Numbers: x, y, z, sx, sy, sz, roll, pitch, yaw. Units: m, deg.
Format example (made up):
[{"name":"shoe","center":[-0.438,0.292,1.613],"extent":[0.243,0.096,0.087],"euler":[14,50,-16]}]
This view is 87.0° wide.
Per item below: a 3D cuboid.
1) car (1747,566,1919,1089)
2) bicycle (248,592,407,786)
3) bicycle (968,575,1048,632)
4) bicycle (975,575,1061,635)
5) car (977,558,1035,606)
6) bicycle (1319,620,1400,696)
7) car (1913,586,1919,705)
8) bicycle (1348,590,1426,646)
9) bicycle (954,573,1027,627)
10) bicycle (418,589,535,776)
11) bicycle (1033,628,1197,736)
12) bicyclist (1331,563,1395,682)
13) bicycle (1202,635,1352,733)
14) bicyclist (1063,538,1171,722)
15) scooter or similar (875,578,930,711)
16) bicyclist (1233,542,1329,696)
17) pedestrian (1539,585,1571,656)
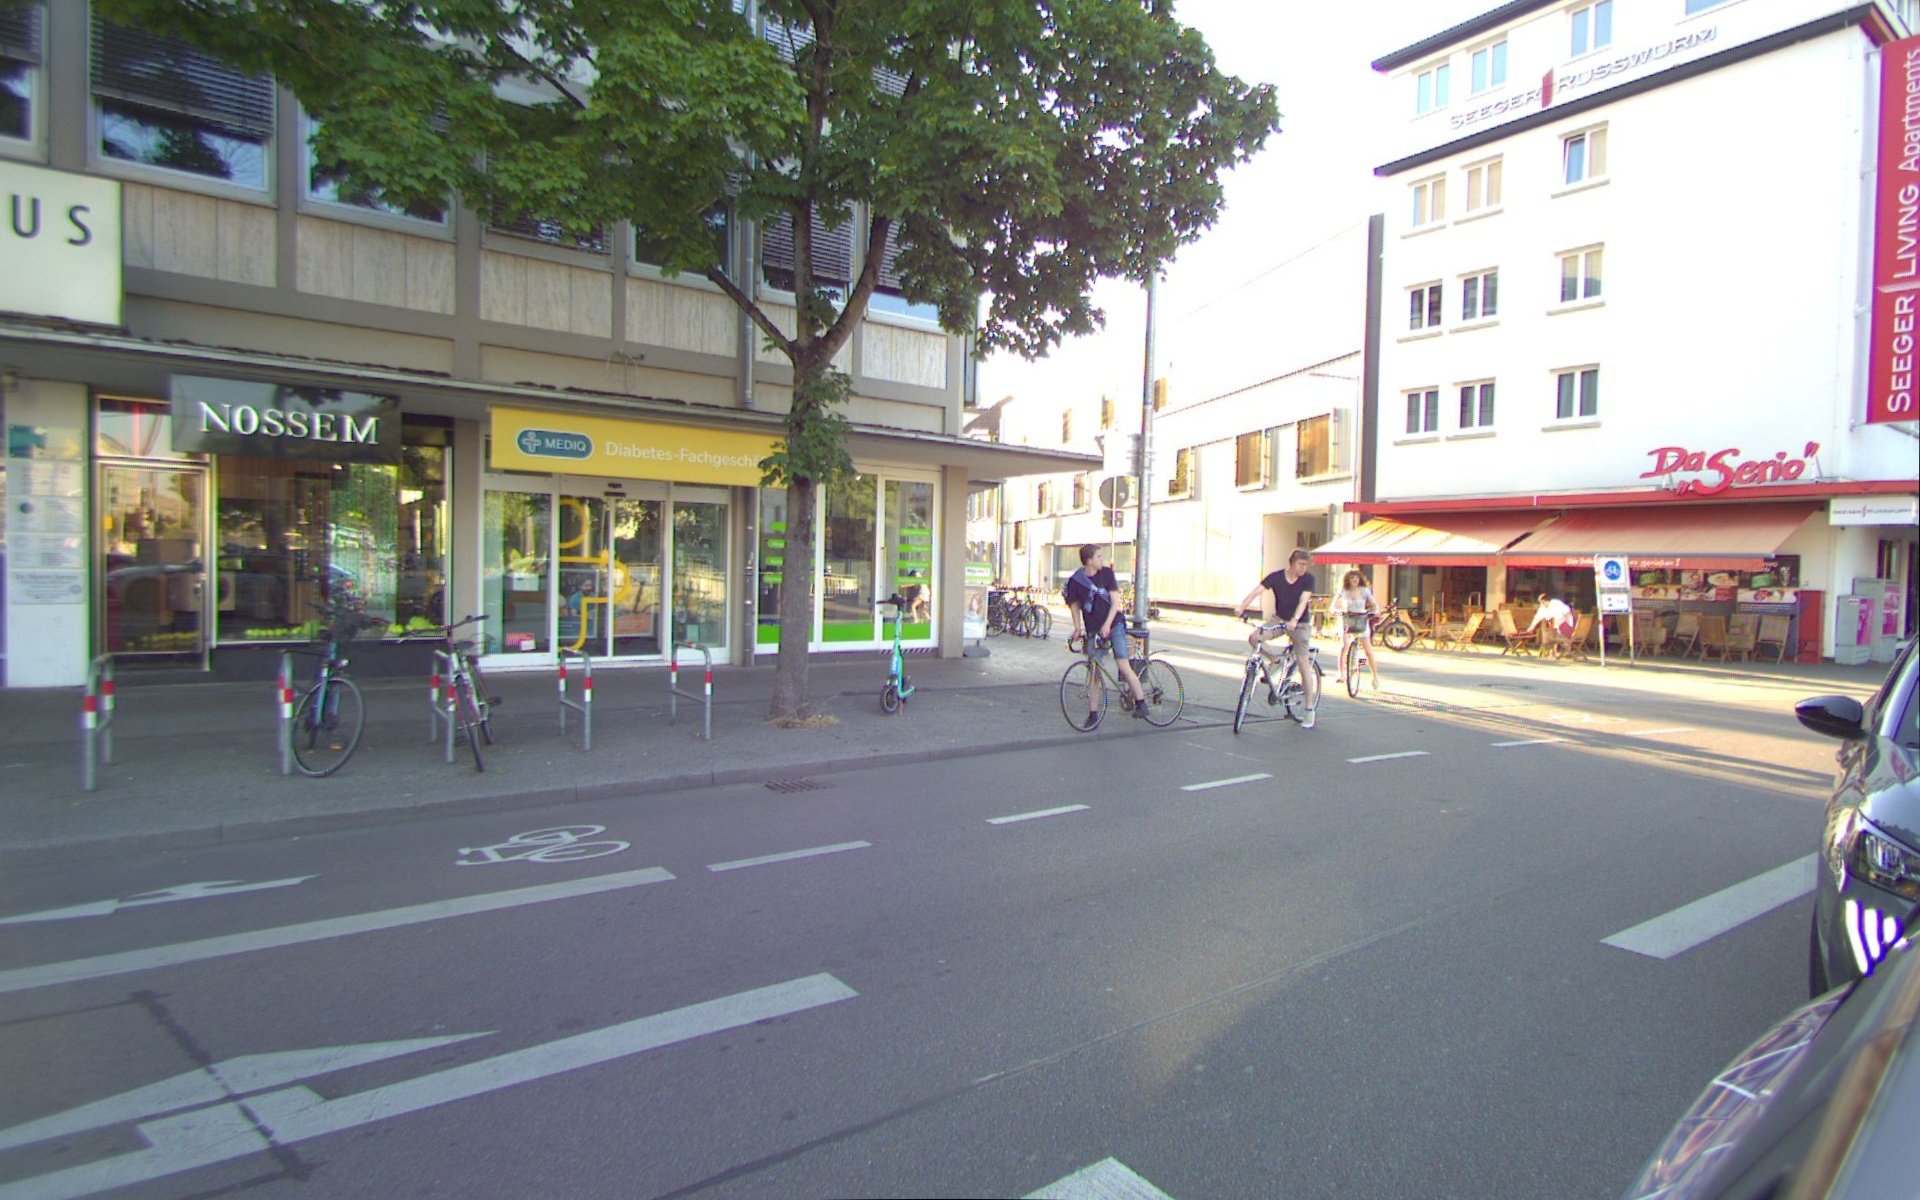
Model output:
[{"name":"car","center":[4.851,0.674,4.165],"extent":[4.625,1.522,1.913],"euler":[-1,3,-44]},{"name":"bicycle","center":[-4.627,0.563,7.348],"extent":[0.655,1.154,1.743],"euler":[0,3,-43]},{"name":"bicycle","center":[1.108,0.089,23.335],"extent":[1.682,1.201,0.541],"euler":[3,1,-19]},{"name":"bicycle","center":[1.275,0.105,22.267],"extent":[1.743,1.201,0.556],"euler":[3,1,-19]},{"name":"car","center":[2.049,-0.856,46.299],"extent":[1.959,2.038,4.006],"euler":[1,2,-6]},{"name":"bicycle","center":[5.267,0.726,13.287],"extent":[0.596,0.835,1.718],"euler":[3,3,35]},{"name":"car","center":[14.240,0.615,12.613],"extent":[4.468,1.467,1.821],"euler":[1,2,-24]},{"name":"bicycle","center":[9.920,0.391,23.542],"extent":[0.588,1.181,1.636],"euler":[-2,4,-31]},{"name":"bicycle","center":[0.740,-0.004,24.492],"extent":[1.651,1.201,0.487],"euler":[3,1,-19]},{"name":"bicycle","center":[-3.724,0.557,7.728],"extent":[0.528,1.199,1.638],"euler":[0,3,-35]},{"name":"bicycle","center":[1.570,0.781,10.137],"extent":[1.660,0.912,0.675],"euler":[0,2,-39]},{"name":"bicyclist","center":[5.282,0.273,13.266],"extent":[0.585,1.505,0.709],"euler":[2,2,35]},{"name":"bicycle","center":[3.278,0.825,10.392],"extent":[1.774,0.835,0.614],"euler":[0,2,-41]},{"name":"bicyclist","center":[1.565,0.265,10.111],"extent":[0.796,1.748,0.665],"euler":[0,2,-39]},{"name":"scooter or similar","center":[-0.648,0.444,11.048],"extent":[0.504,1.338,1.283],"euler":[1,2,-6]},{"name":"bicyclist","center":[3.289,0.173,10.371],"extent":[0.705,1.505,0.613],"euler":[0,2,-41]},{"name":"pedestrian","center":[12.630,0.432,21.481],"extent":[0.504,1.467,0.502],"euler":[2,2,27]}]
